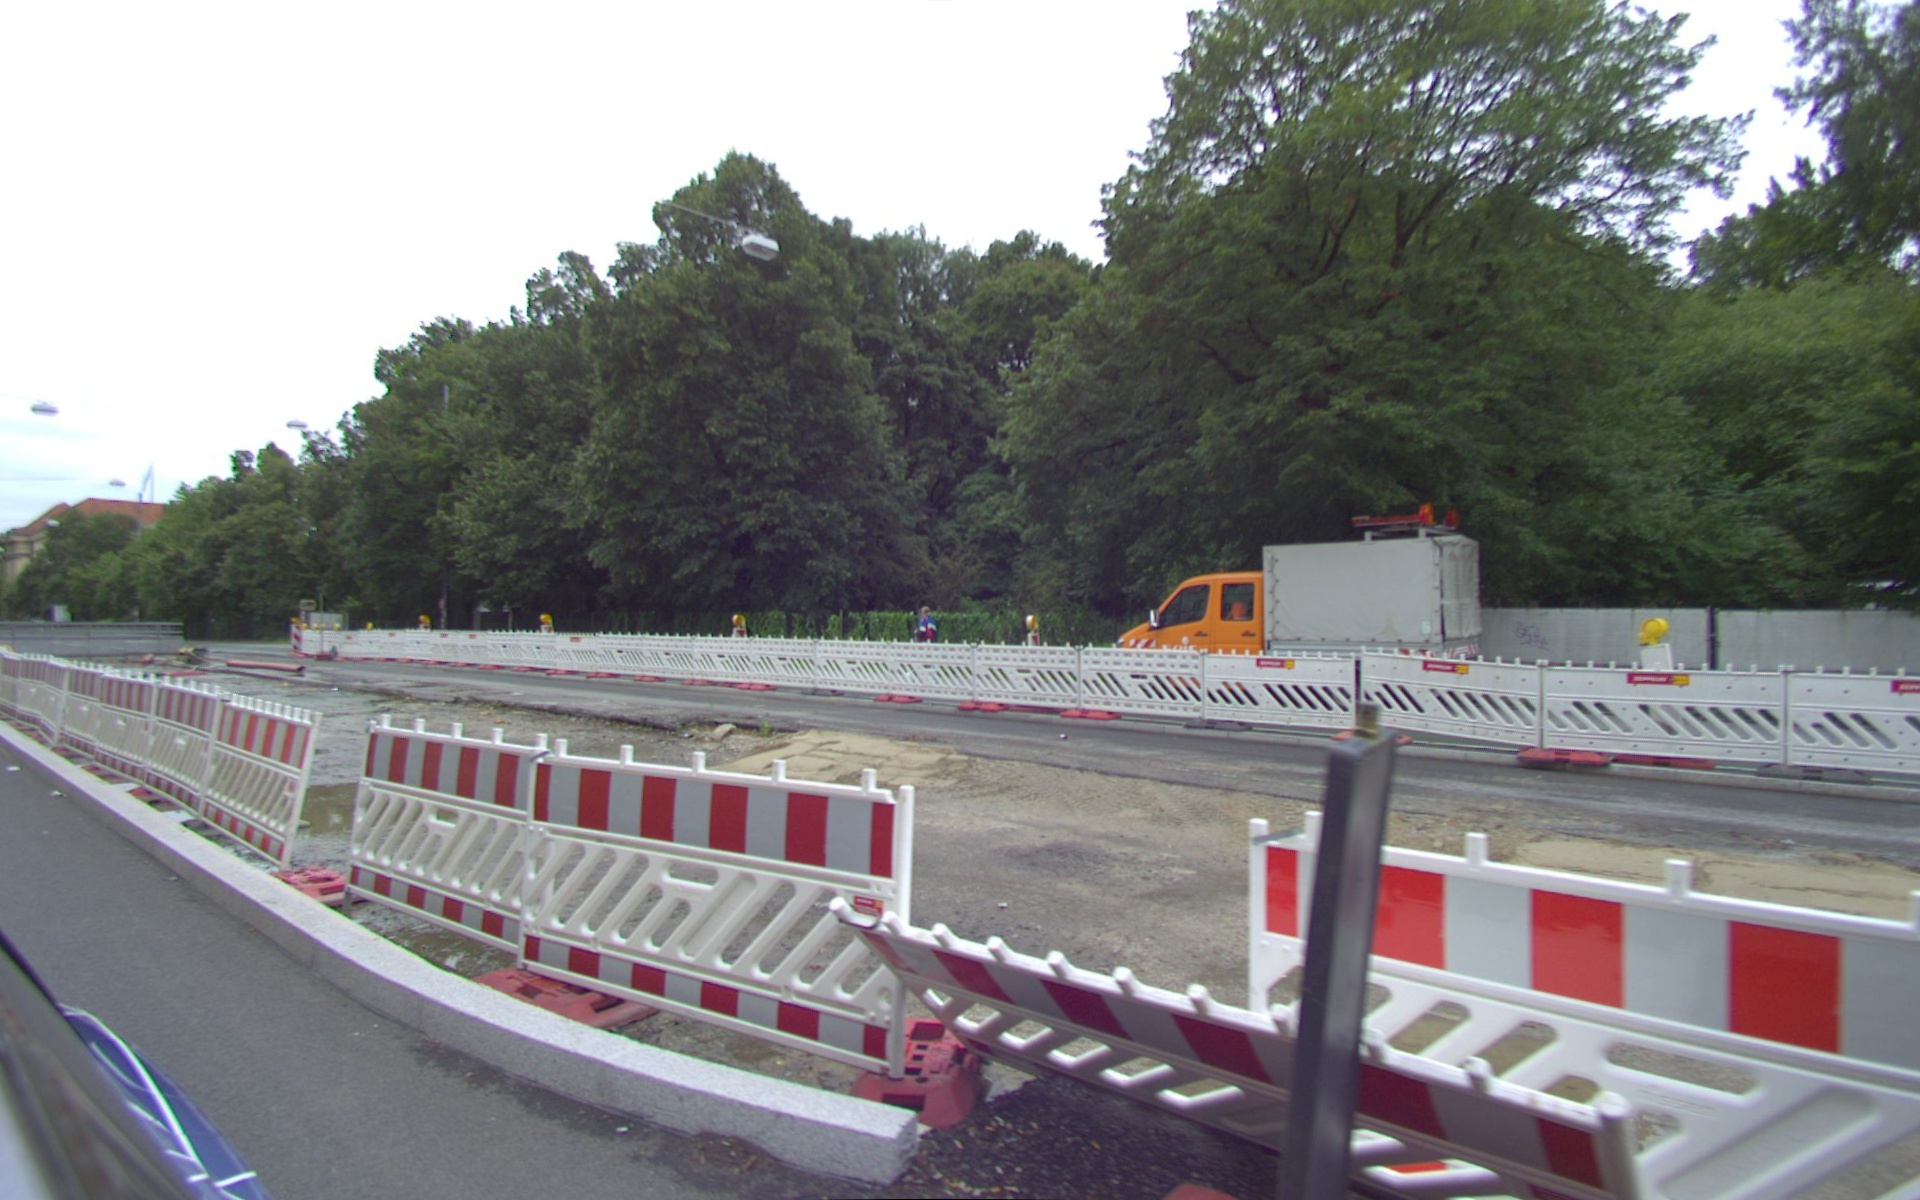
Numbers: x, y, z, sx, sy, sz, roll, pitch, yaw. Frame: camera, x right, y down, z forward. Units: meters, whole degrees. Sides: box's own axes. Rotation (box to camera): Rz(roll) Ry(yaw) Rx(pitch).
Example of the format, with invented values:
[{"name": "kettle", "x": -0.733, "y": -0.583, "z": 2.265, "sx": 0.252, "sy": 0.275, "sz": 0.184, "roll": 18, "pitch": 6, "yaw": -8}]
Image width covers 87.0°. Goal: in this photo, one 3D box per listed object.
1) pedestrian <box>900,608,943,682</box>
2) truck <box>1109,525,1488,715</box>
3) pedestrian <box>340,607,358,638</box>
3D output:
[{"name": "pedestrian", "x": -0.865, "y": 0.994, "z": 22.583, "sx": 0.698, "sy": 1.615, "sz": 0.656, "roll": -2, "pitch": -2, "yaw": 42}, {"name": "truck", "x": 5.565, "y": 0.358, "z": 17.346, "sx": 5.868, "sy": 2.749, "sz": 1.972, "roll": -1, "pitch": -2, "yaw": 42}, {"name": "pedestrian", "x": -32.579, "y": 1.210, "z": 53.981, "sx": 0.698, "sy": 1.653, "sz": 0.656, "roll": -2, "pitch": -2, "yaw": 42}]
